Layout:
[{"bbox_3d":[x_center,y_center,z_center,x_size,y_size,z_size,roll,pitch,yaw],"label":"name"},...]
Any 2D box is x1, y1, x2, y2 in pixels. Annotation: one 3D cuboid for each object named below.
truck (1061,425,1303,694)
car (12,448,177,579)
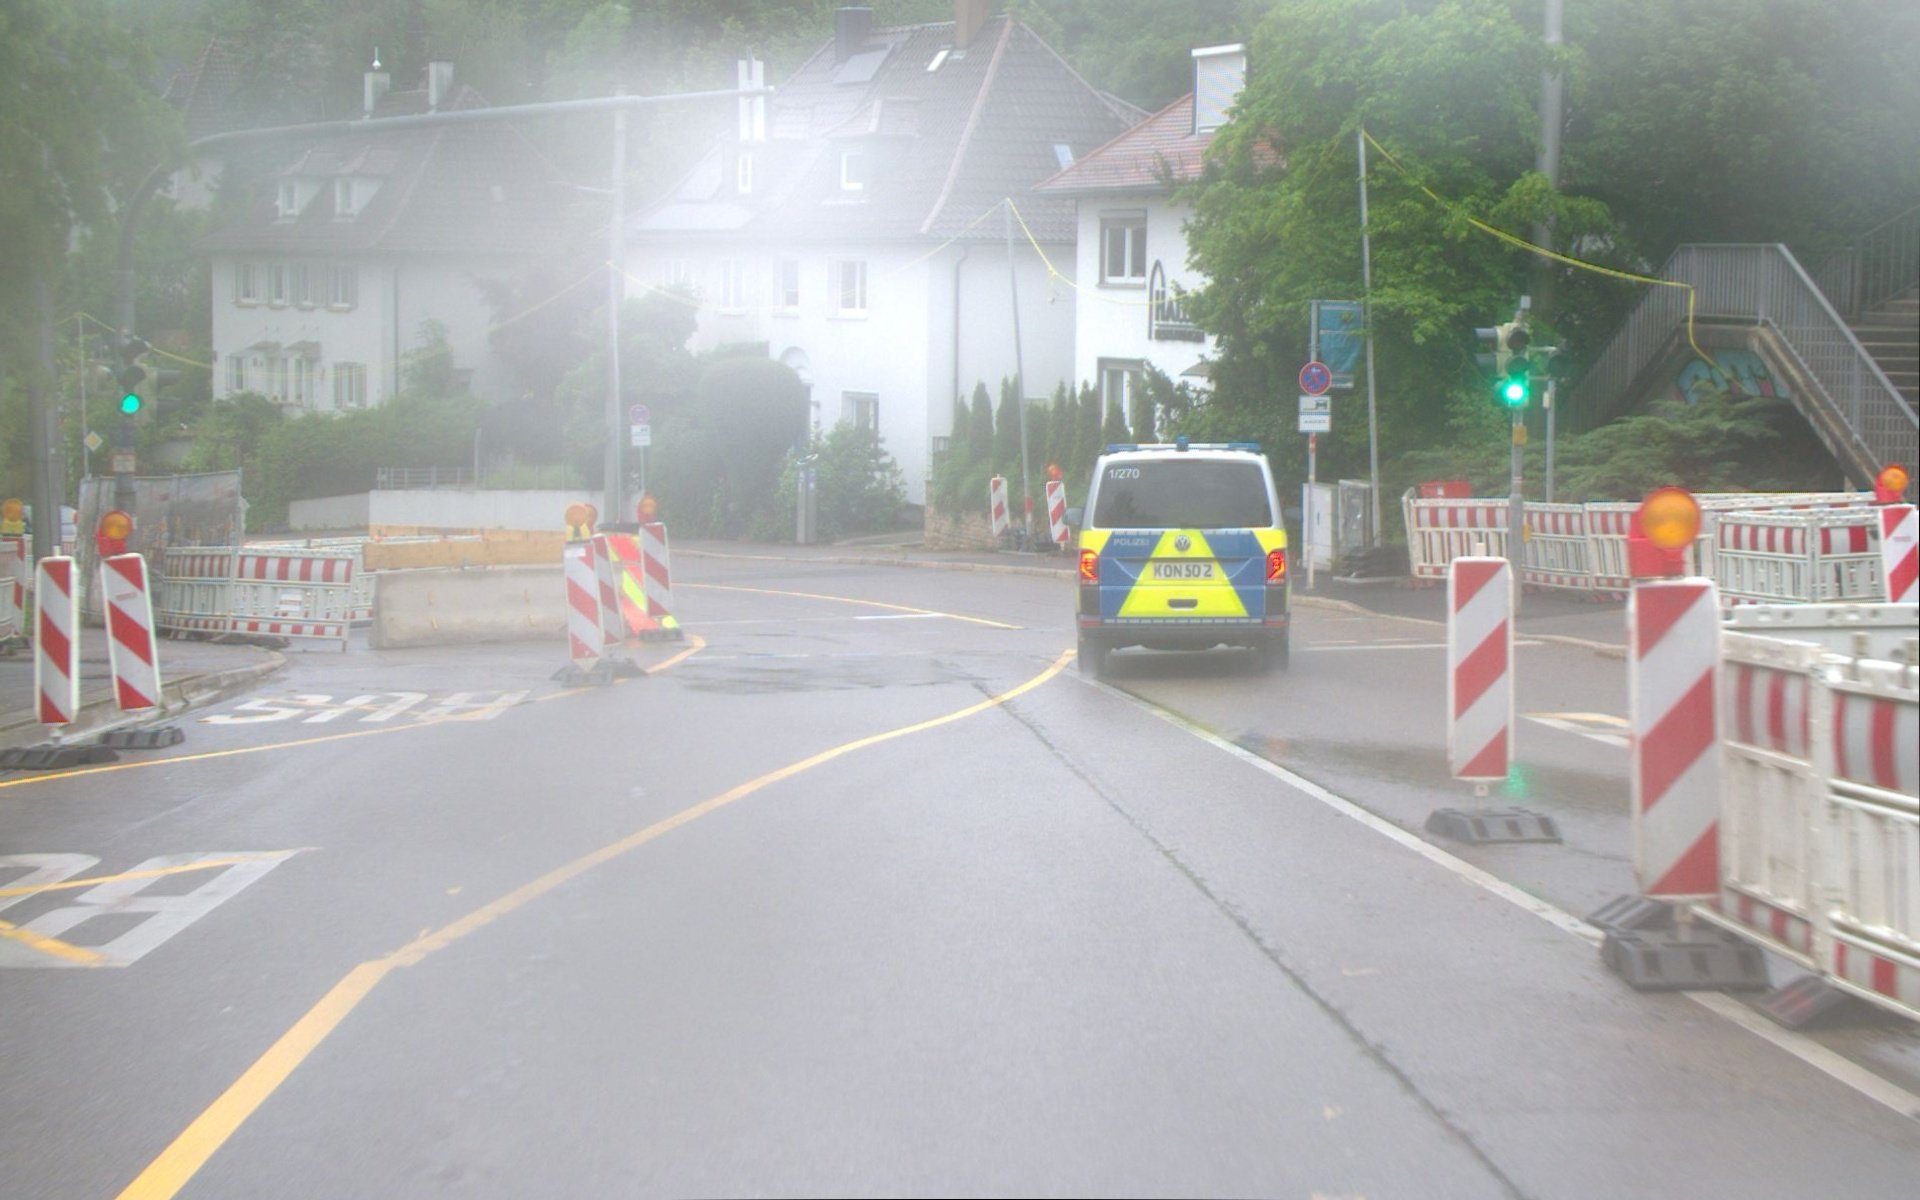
[{"bbox_3d":[2.095,-0.451,31.166,1.994,2.006,4.735,0,6,6],"label":"truck"},{"bbox_3d":[-14.054,-1.390,55.664,1.993,2.007,4.808,0,1,-21],"label":"car"}]
